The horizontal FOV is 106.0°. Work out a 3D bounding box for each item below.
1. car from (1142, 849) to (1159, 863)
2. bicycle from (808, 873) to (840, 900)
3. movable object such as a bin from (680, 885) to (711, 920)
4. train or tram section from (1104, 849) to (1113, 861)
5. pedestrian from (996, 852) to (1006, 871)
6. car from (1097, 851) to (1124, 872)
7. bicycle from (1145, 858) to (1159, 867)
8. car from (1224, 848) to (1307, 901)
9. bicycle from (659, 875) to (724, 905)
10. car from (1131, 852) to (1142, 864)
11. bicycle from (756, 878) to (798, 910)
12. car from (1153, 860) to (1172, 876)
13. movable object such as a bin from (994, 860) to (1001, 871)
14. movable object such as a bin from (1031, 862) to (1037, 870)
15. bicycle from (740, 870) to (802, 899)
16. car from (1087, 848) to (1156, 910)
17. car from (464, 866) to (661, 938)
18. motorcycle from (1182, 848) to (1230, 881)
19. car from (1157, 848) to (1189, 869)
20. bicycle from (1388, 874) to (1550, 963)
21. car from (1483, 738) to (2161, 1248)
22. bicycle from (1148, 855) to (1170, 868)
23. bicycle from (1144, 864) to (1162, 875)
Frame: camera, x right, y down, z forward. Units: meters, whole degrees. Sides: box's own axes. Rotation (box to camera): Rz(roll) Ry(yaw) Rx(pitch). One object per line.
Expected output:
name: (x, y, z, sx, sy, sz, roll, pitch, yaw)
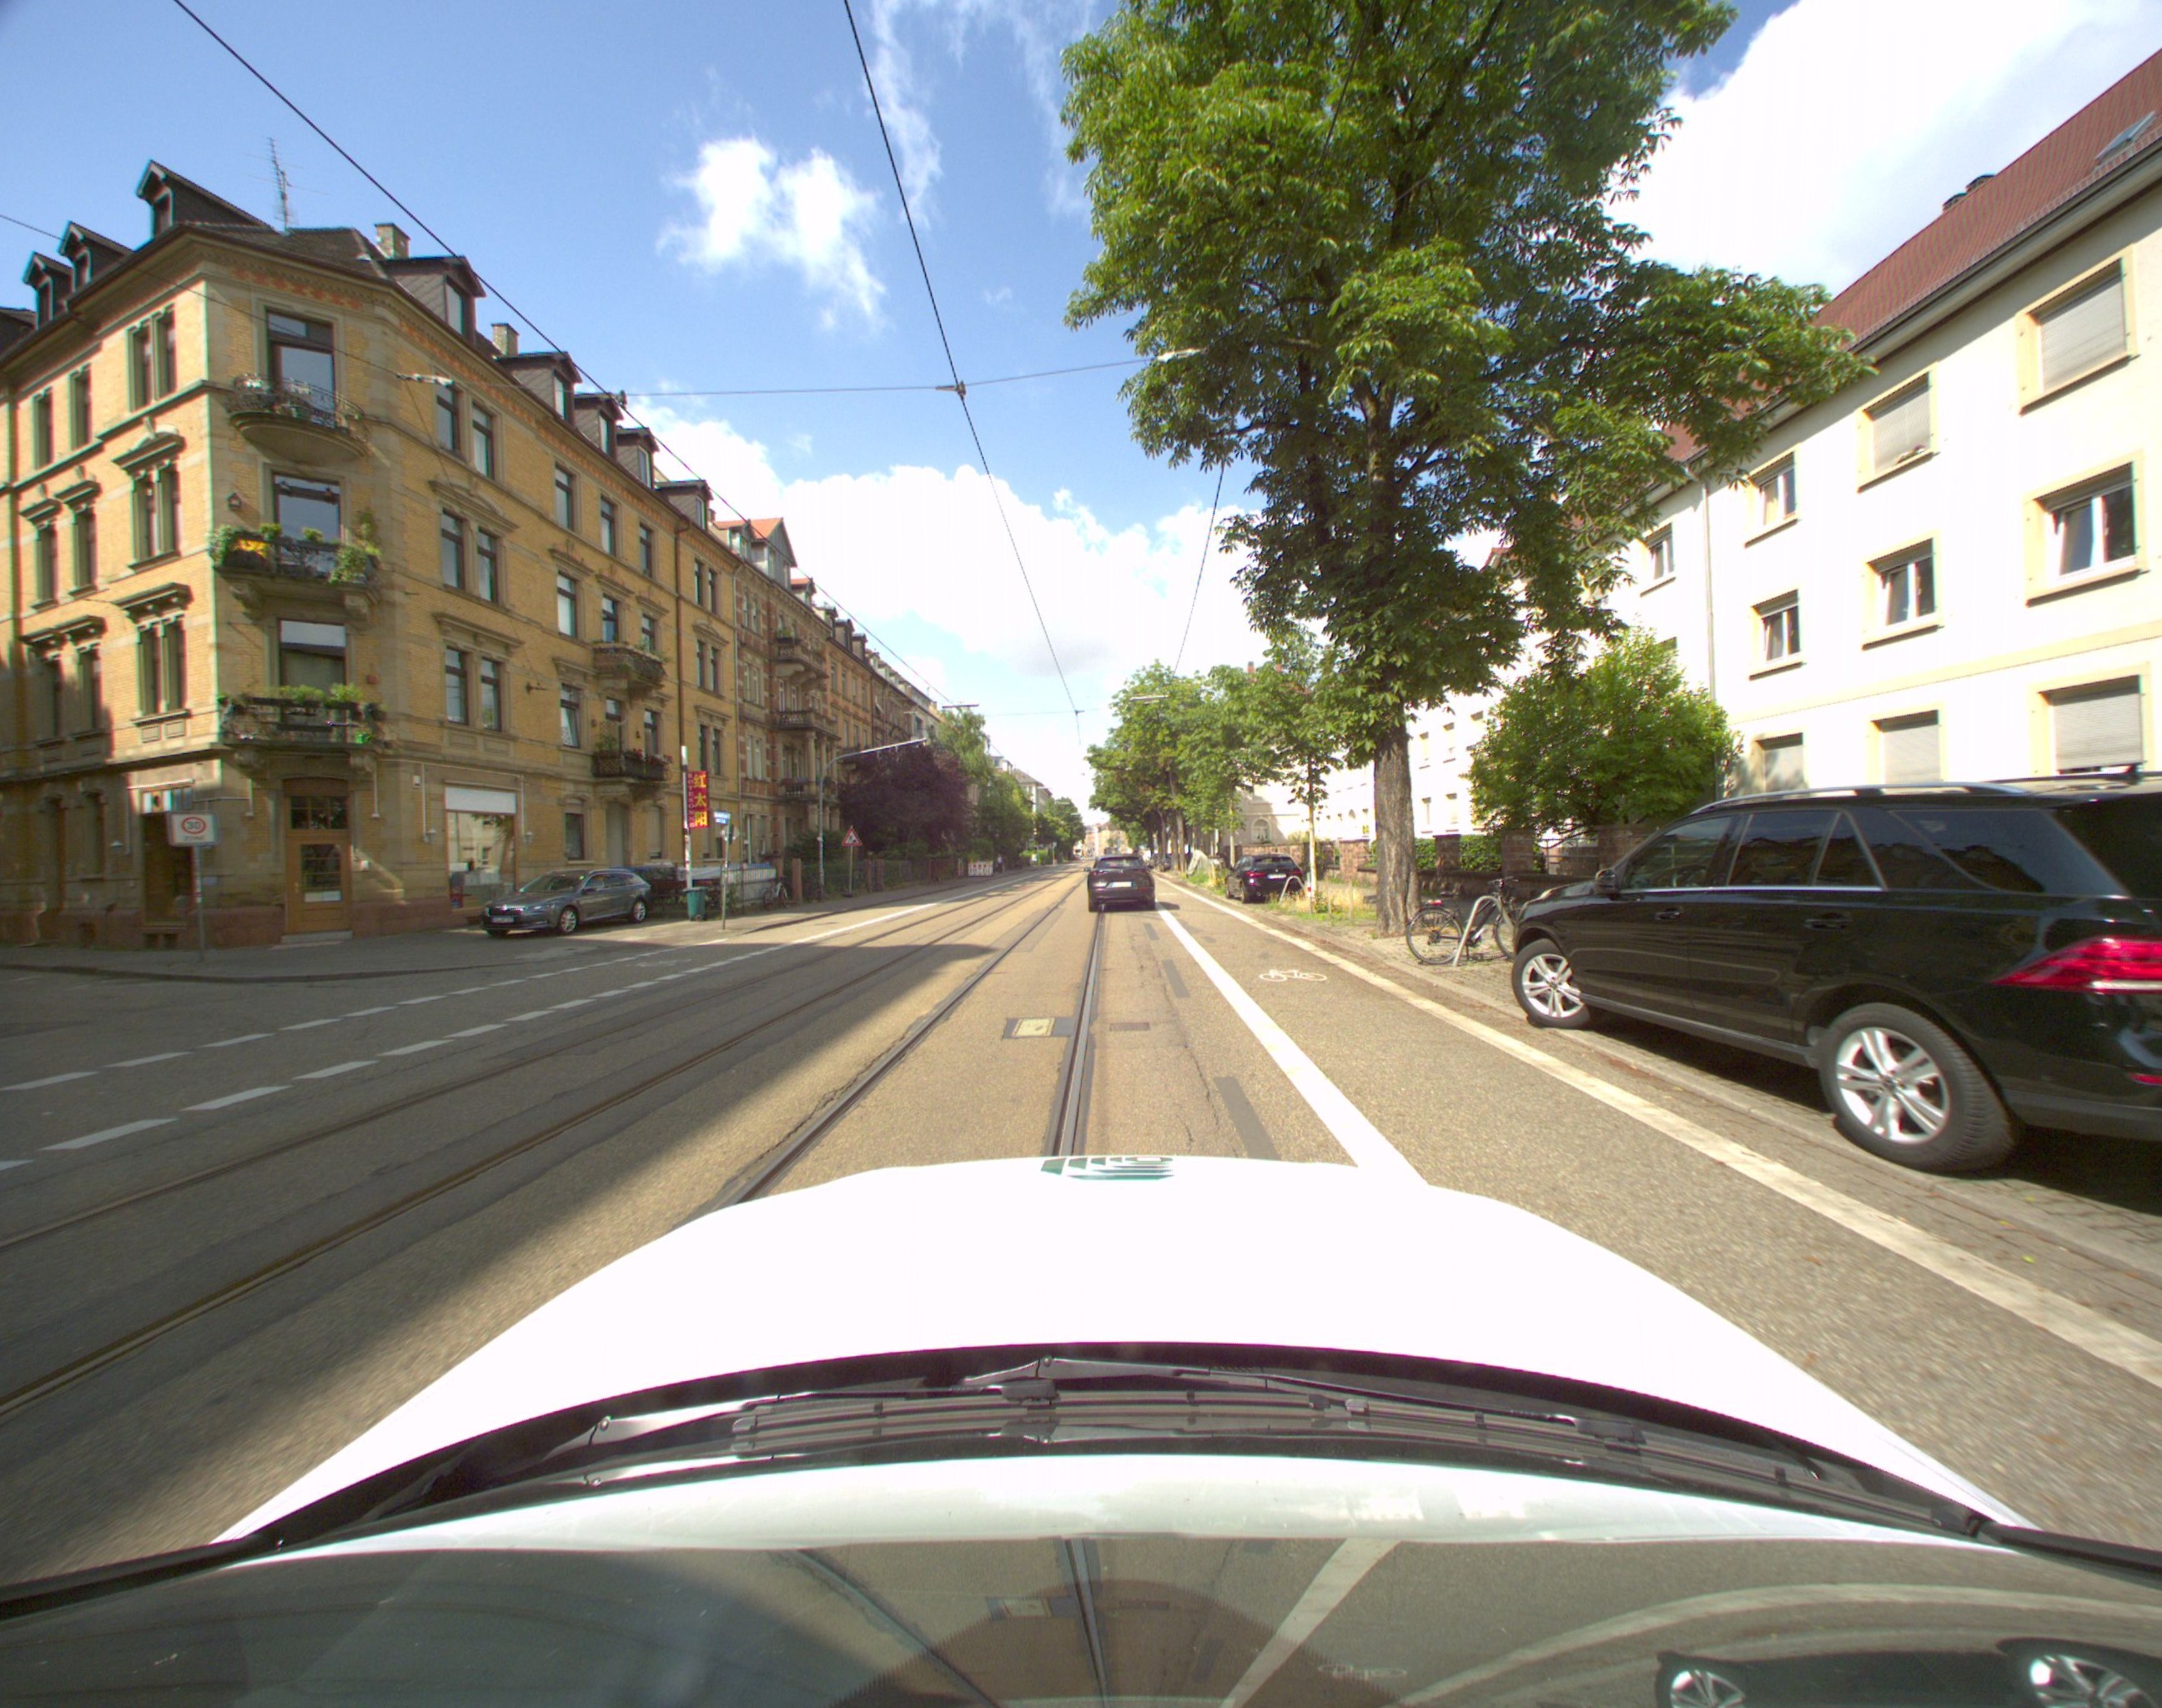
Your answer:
car: (10.432, 0.317, 122.326, 1.783, 1.938, 4.984, -2, 0, -4)
bicycle: (-9.814, 1.219, 31.130, 0.528, 0.946, 1.969, -2, 0, 2)
movable object such as a bin: (-10.673, 1.342, 22.541, 0.523, 0.906, 0.636, -2, 0, 0)
train or tram section: (8.697, 0.395, 258.007, 2.563, 3.772, 13.023, -2, 0, 0)
pedestrian: (-7.290, 0.694, 74.157, 0.820, 1.706, 0.891, -2, -1, -1)
car: (2.187, 0.550, 60.635, 1.986, 1.529, 4.001, 0, 0, 2)
bicycle: (7.852, 0.917, 90.152, 1.485, 0.983, 0.259, -3, -1, 3)
car: (5.492, 0.583, 24.718, 1.700, 1.479, 4.198, 0, 0, 2)
bicycle: (-13.374, 1.227, 28.001, 1.954, 0.946, 0.532, -2, 0, 1)
car: (9.527, 0.691, 138.898, 1.714, 1.968, 4.210, -2, 0, 3)
bicycle: (-9.888, 1.285, 26.558, 0.528, 0.946, 1.969, -2, 0, 2)
car: (8.039, 1.380, 80.595, 1.659, 1.430, 3.768, -4, -1, 2)
movable object such as a bin: (-8.704, 1.205, 84.536, 0.535, 1.094, 0.791, -2, 0, 7)
movable object such as a bin: (-6.450, 1.648, 111.273, 0.742, 0.988, 1.114, 0, 0, 2)
bicycle: (-10.979, 1.084, 28.860, 1.957, 0.946, 0.531, -2, 0, -3)
car: (1.094, 0.649, 22.615, 1.714, 1.526, 3.591, -2, 0, 2)
car: (-12.635, 1.104, 20.303, 1.679, 1.459, 4.767, -2, 0, 2)
motorcycle: (6.181, 0.490, 40.418, 2.357, 1.597, 0.683, 0, 1, 40)
car: (7.056, 0.367, 62.959, 1.841, 1.409, 4.392, -4, 0, -1)
bicycle: (4.870, 0.798, 10.292, 1.701, 1.007, 0.638, -2, 0, 2)
car: (4.611, 0.447, 5.209, 1.820, 1.782, 4.735, -2, 0, 2)
bicycle: (7.281, 0.714, 75.887, 1.923, 1.176, 0.515, -3, -1, 13)
bicycle: (7.475, 1.645, 84.631, 1.896, 1.072, 0.402, -2, -1, 2)
